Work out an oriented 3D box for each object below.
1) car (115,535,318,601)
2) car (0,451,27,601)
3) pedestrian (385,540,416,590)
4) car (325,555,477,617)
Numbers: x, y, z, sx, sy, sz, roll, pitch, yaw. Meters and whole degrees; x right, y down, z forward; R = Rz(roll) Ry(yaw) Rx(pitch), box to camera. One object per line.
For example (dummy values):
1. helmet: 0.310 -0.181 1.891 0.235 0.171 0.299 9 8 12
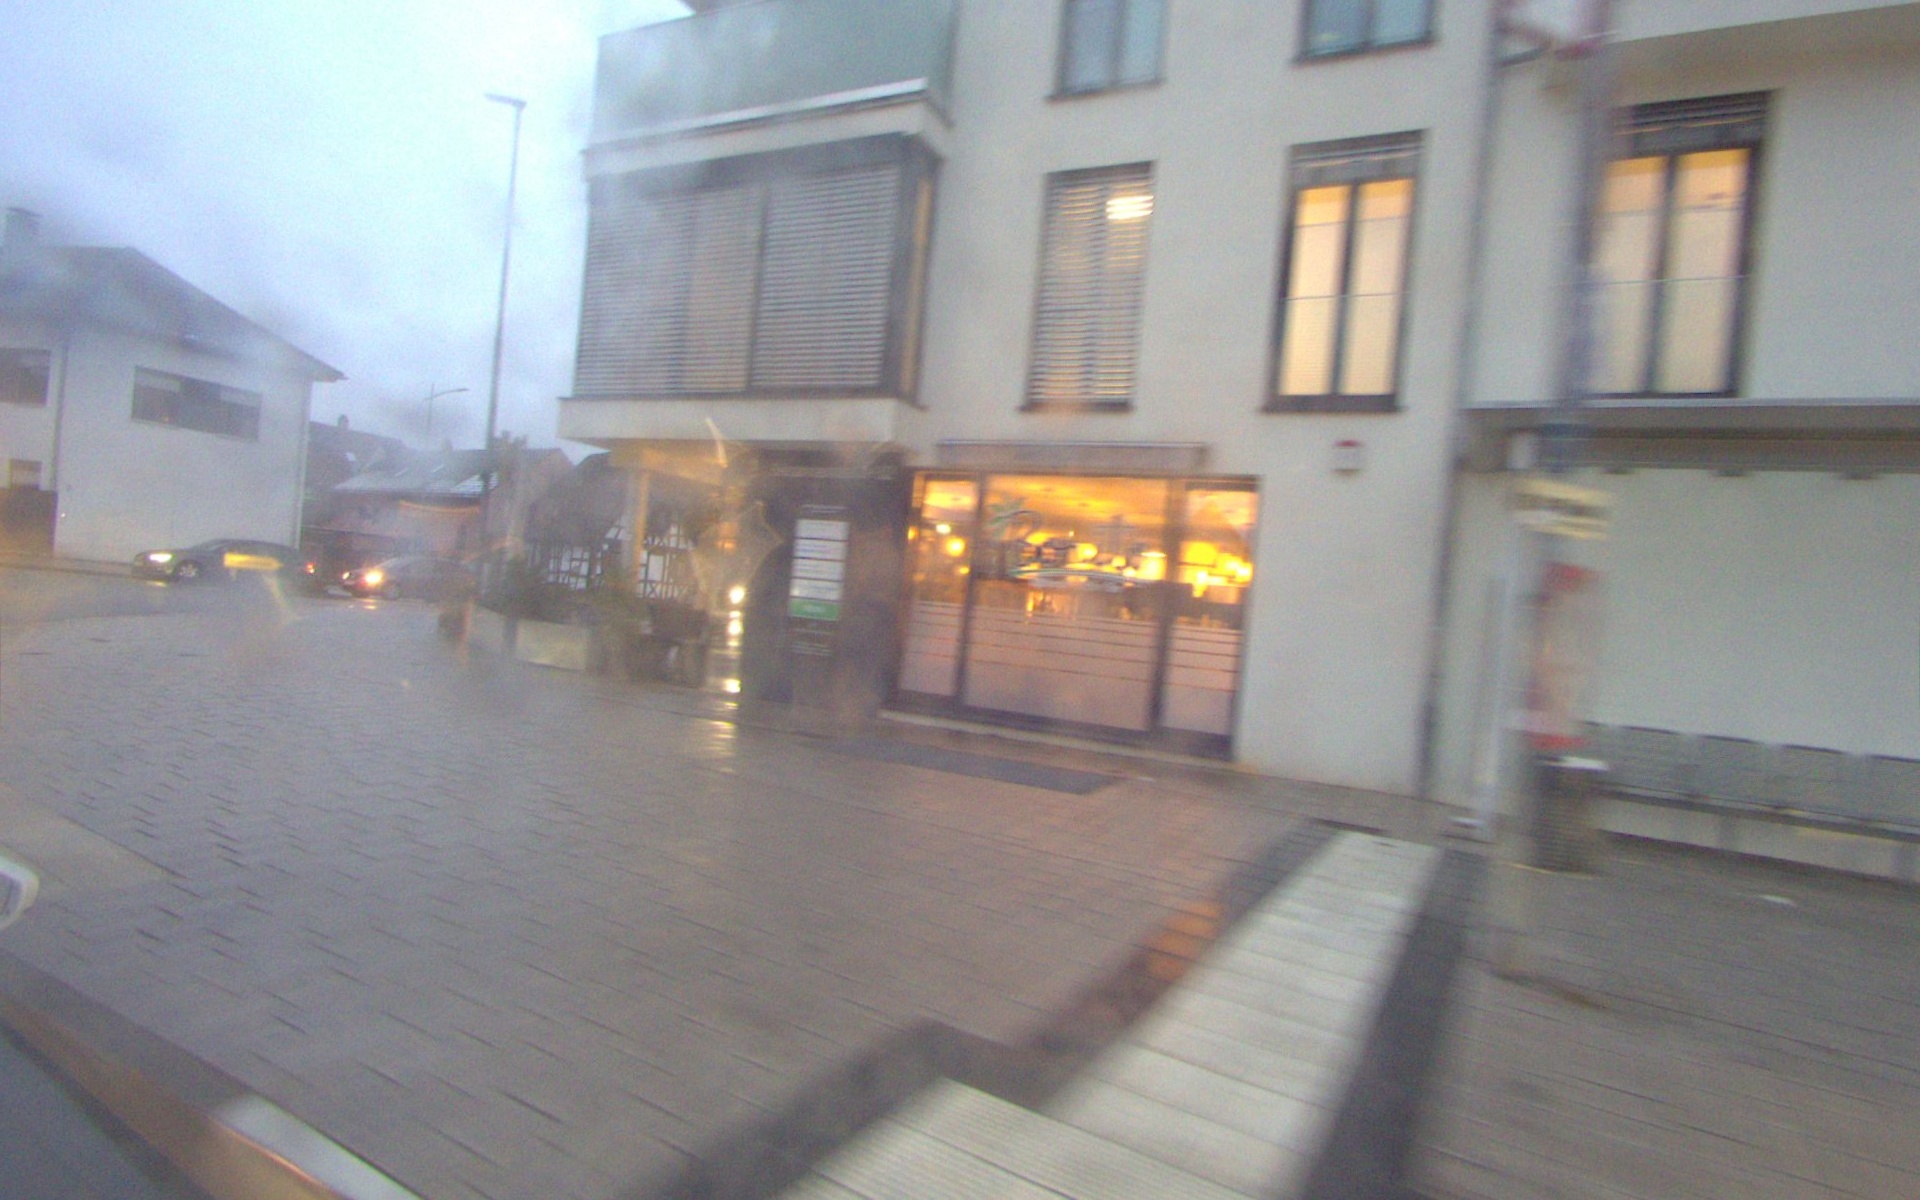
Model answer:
1. car: -21.014 -0.866 28.632 1.819 1.400 4.231 3 -3 27
2. car: -14.440 -1.195 11.772 1.962 2.038 4.903 6 -1 8
3. pedestrian: -22.112 -1.364 39.760 0.628 1.855 0.714 8 2 39
4. car: -18.361 -0.424 33.224 1.668 1.570 3.994 4 -2 30
